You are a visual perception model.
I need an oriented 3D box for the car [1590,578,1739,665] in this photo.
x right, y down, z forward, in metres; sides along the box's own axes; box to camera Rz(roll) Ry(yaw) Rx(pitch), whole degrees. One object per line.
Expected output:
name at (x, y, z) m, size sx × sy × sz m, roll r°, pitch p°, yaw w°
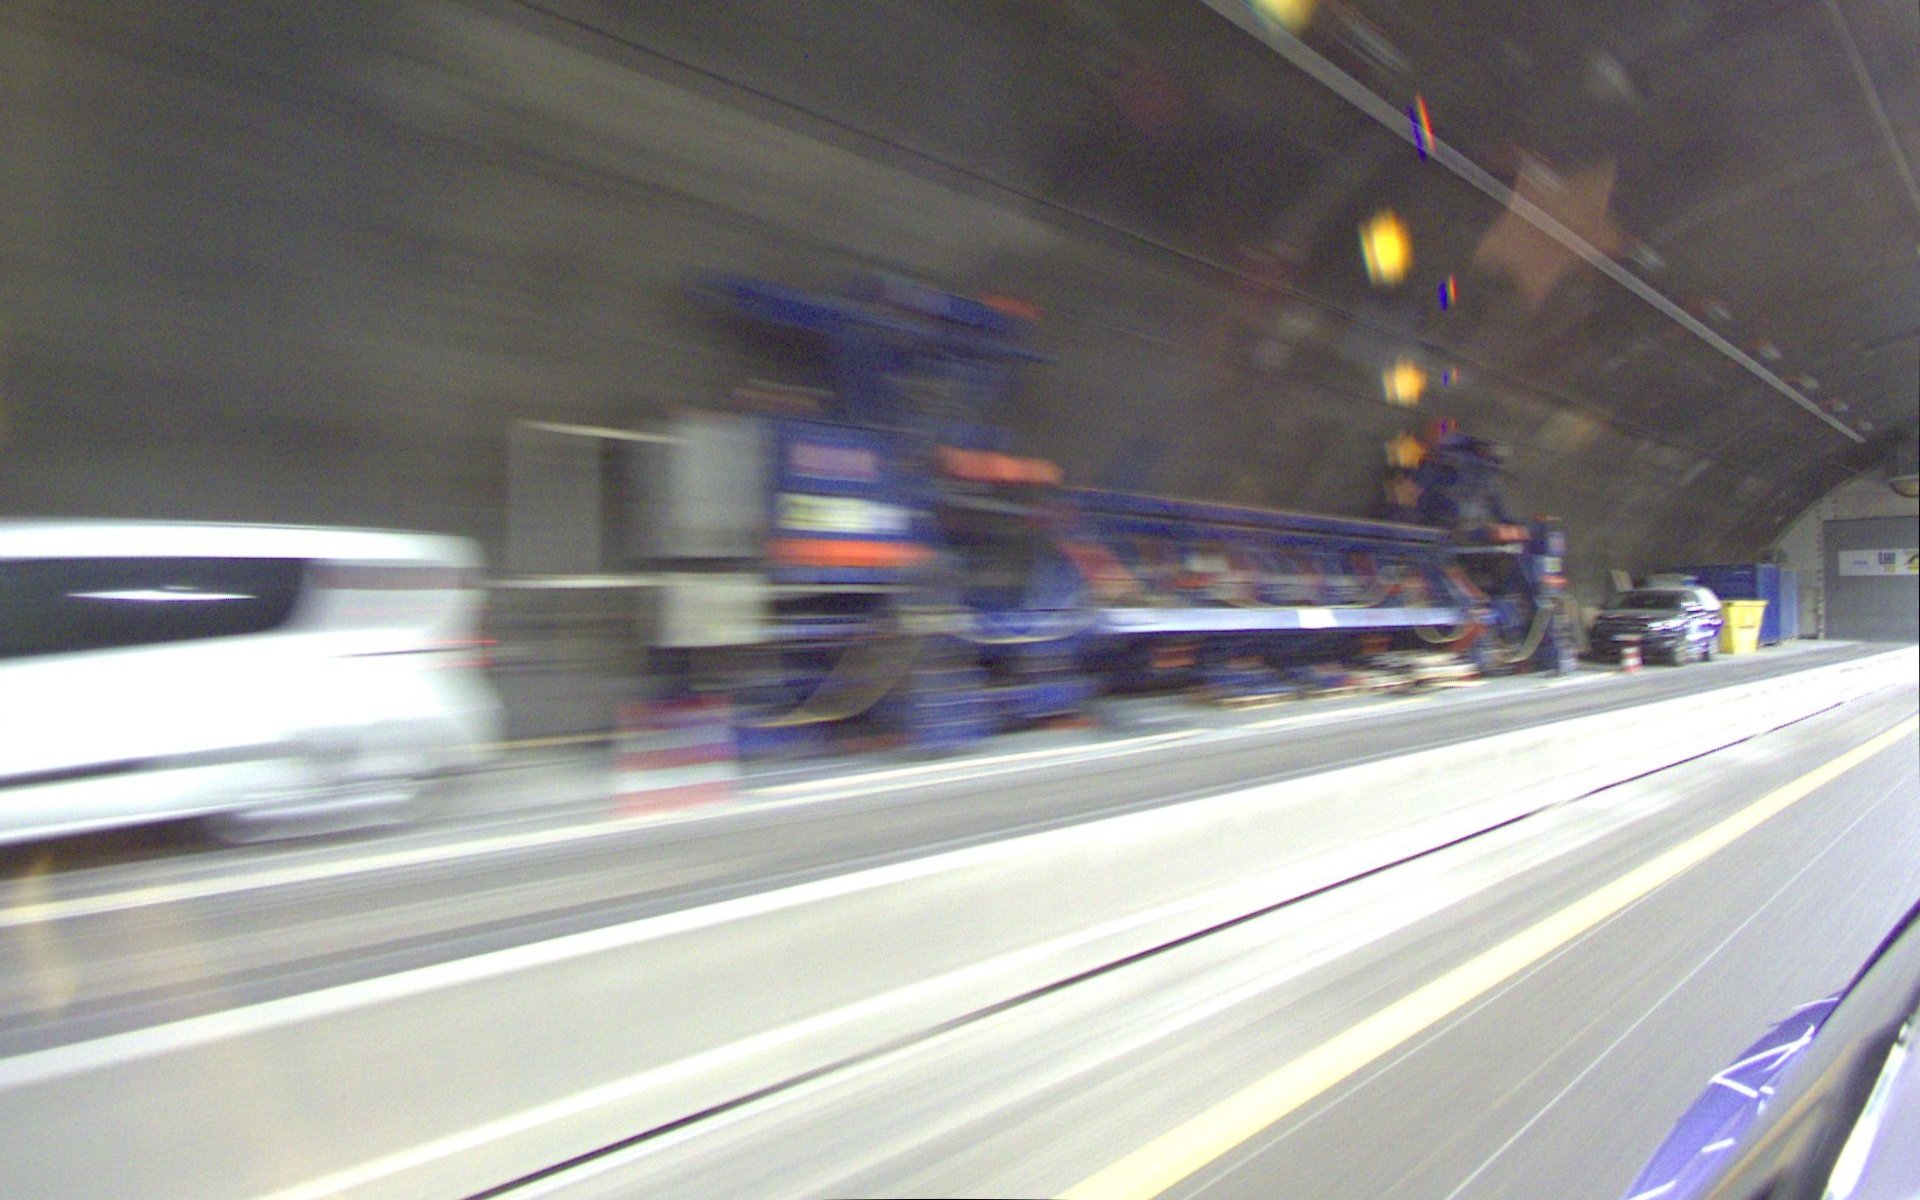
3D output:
car at (17.128, 0.489, 24.473) m, size 5.349 × 1.882 × 1.830 m, roll 0°, pitch -1°, yaw -43°

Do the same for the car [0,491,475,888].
car at (-5.235, 0.409, 5.277) m, size 1.751 × 1.868 × 4.571 m, roll 1°, pitch 1°, yaw 45°
